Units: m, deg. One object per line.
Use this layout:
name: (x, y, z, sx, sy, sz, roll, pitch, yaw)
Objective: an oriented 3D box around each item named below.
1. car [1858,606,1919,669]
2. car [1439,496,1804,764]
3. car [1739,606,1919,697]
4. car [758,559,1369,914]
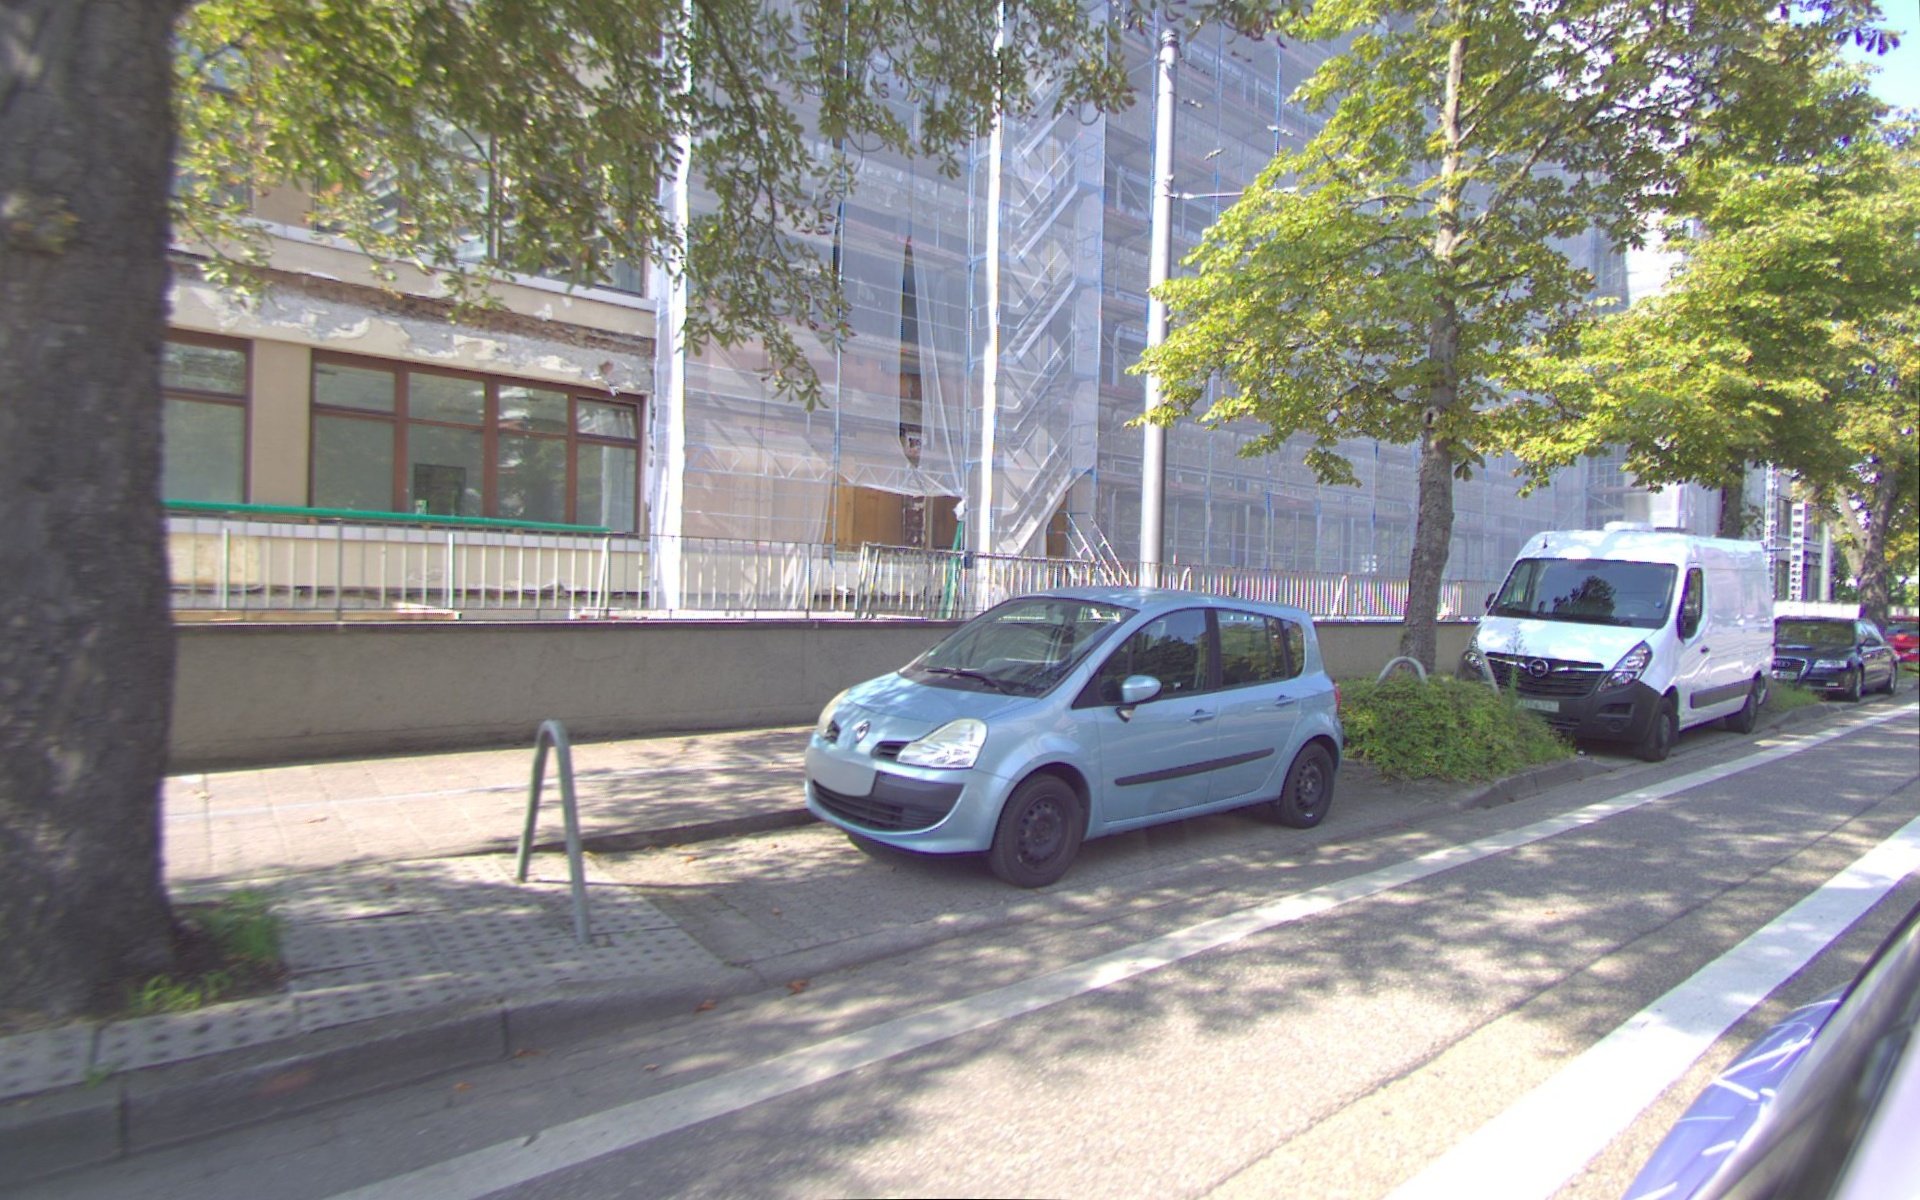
car: (23.911, 0.916, 25.200, 3.927, 1.431, 1.621, 1, 1, -38)
car: (8.209, 0.239, 12.317, 5.403, 2.583, 2.088, 1, 4, -40)
car: (15.984, 0.865, 18.487, 4.738, 1.391, 1.621, 1, 1, -38)
car: (0.827, 0.653, 6.567, 3.805, 1.637, 1.669, 2, 1, -38)
